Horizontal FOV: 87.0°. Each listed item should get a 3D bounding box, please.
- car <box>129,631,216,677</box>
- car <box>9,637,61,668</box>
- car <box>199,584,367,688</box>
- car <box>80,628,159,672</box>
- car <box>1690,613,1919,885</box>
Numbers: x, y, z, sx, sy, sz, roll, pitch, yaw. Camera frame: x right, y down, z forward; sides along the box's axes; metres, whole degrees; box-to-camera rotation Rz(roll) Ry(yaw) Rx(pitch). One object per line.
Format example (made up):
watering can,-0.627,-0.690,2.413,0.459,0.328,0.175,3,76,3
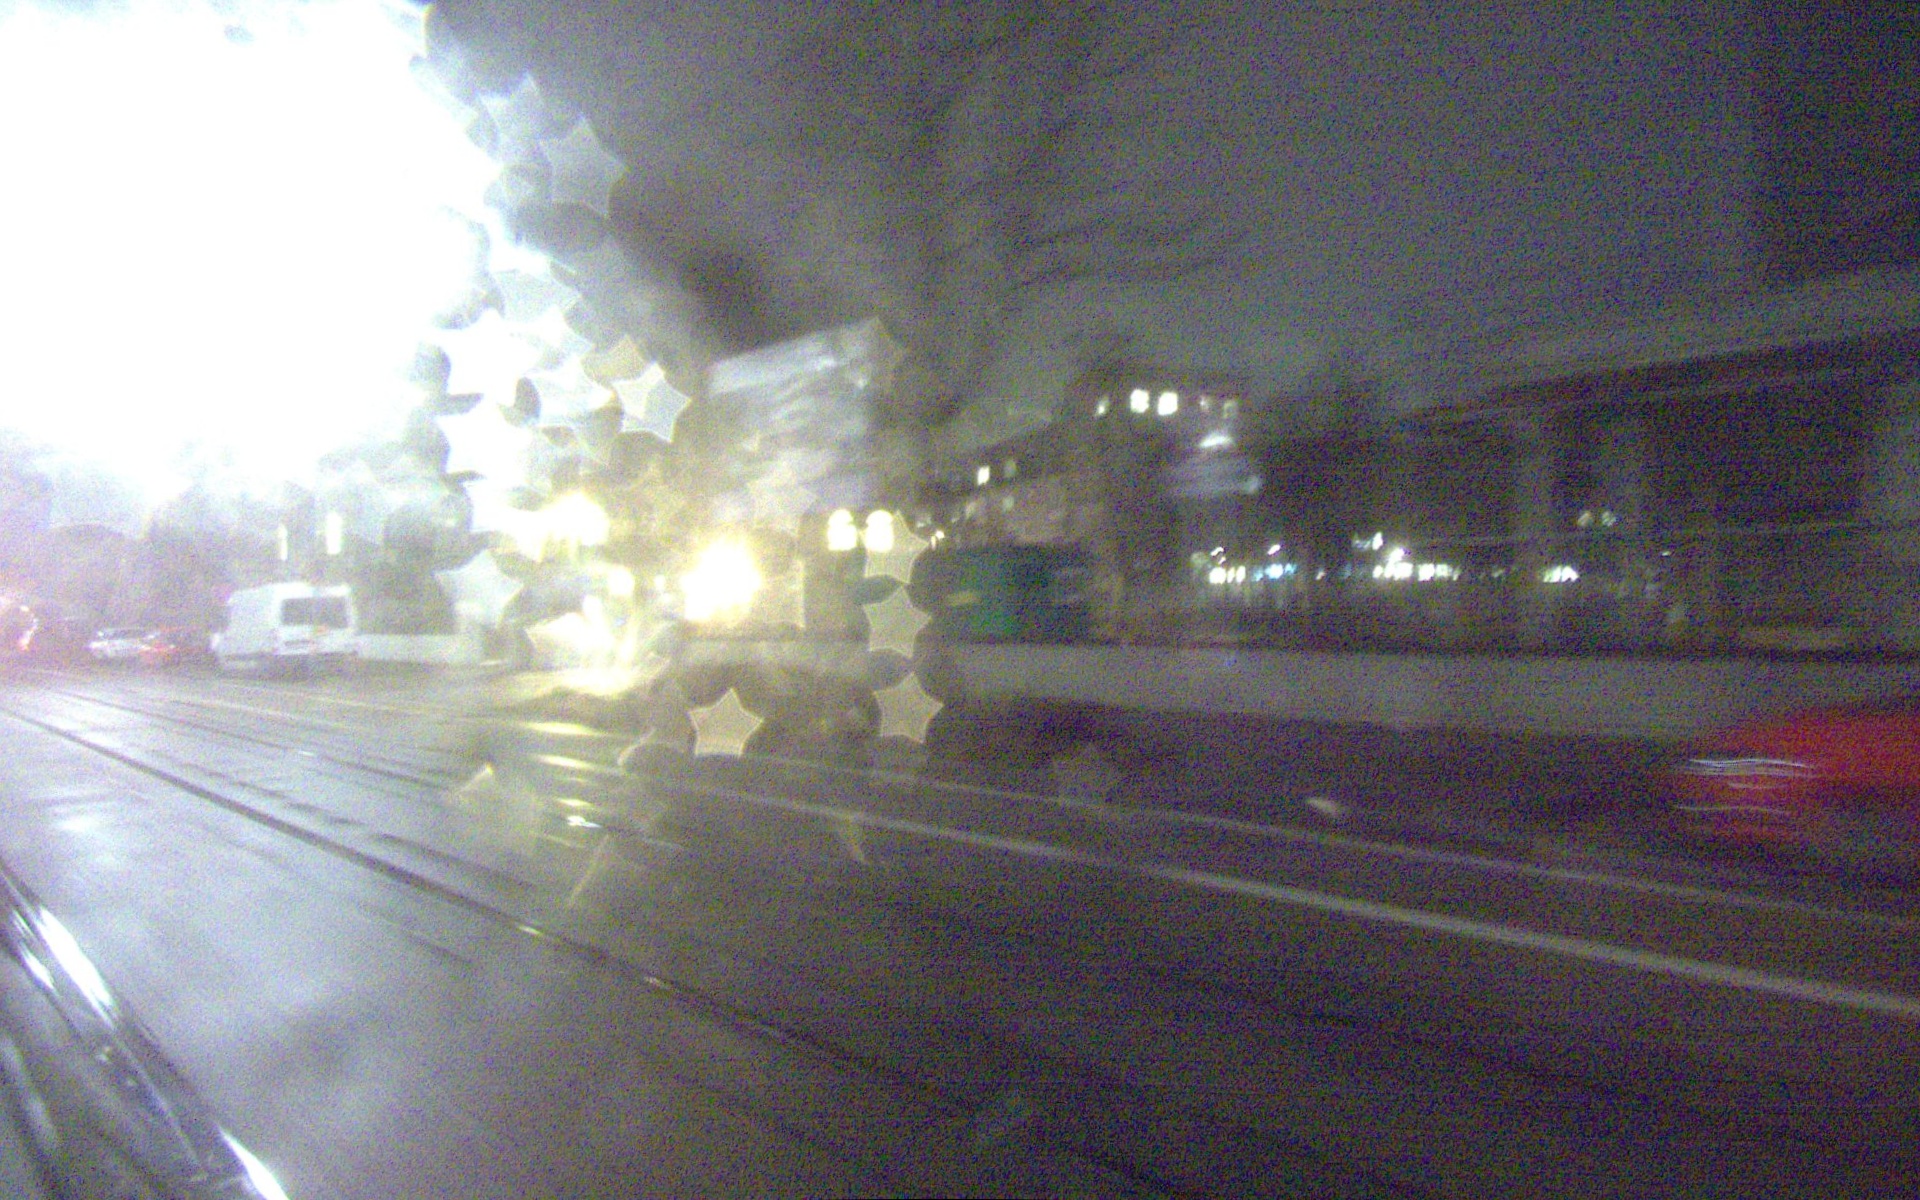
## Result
car,-27.652,1.846,35.519,3.387,1.418,1.699,-1,1,40
car,-50.181,2.816,54.886,3.916,1.586,1.671,-1,-1,41
car,-18.457,0.920,27.498,5.253,2.527,2.221,-1,1,38
car,-34.133,1.991,41.080,3.661,1.593,1.823,-1,1,40
car,6.521,0.809,5.565,3.948,1.467,1.701,-1,-1,40
